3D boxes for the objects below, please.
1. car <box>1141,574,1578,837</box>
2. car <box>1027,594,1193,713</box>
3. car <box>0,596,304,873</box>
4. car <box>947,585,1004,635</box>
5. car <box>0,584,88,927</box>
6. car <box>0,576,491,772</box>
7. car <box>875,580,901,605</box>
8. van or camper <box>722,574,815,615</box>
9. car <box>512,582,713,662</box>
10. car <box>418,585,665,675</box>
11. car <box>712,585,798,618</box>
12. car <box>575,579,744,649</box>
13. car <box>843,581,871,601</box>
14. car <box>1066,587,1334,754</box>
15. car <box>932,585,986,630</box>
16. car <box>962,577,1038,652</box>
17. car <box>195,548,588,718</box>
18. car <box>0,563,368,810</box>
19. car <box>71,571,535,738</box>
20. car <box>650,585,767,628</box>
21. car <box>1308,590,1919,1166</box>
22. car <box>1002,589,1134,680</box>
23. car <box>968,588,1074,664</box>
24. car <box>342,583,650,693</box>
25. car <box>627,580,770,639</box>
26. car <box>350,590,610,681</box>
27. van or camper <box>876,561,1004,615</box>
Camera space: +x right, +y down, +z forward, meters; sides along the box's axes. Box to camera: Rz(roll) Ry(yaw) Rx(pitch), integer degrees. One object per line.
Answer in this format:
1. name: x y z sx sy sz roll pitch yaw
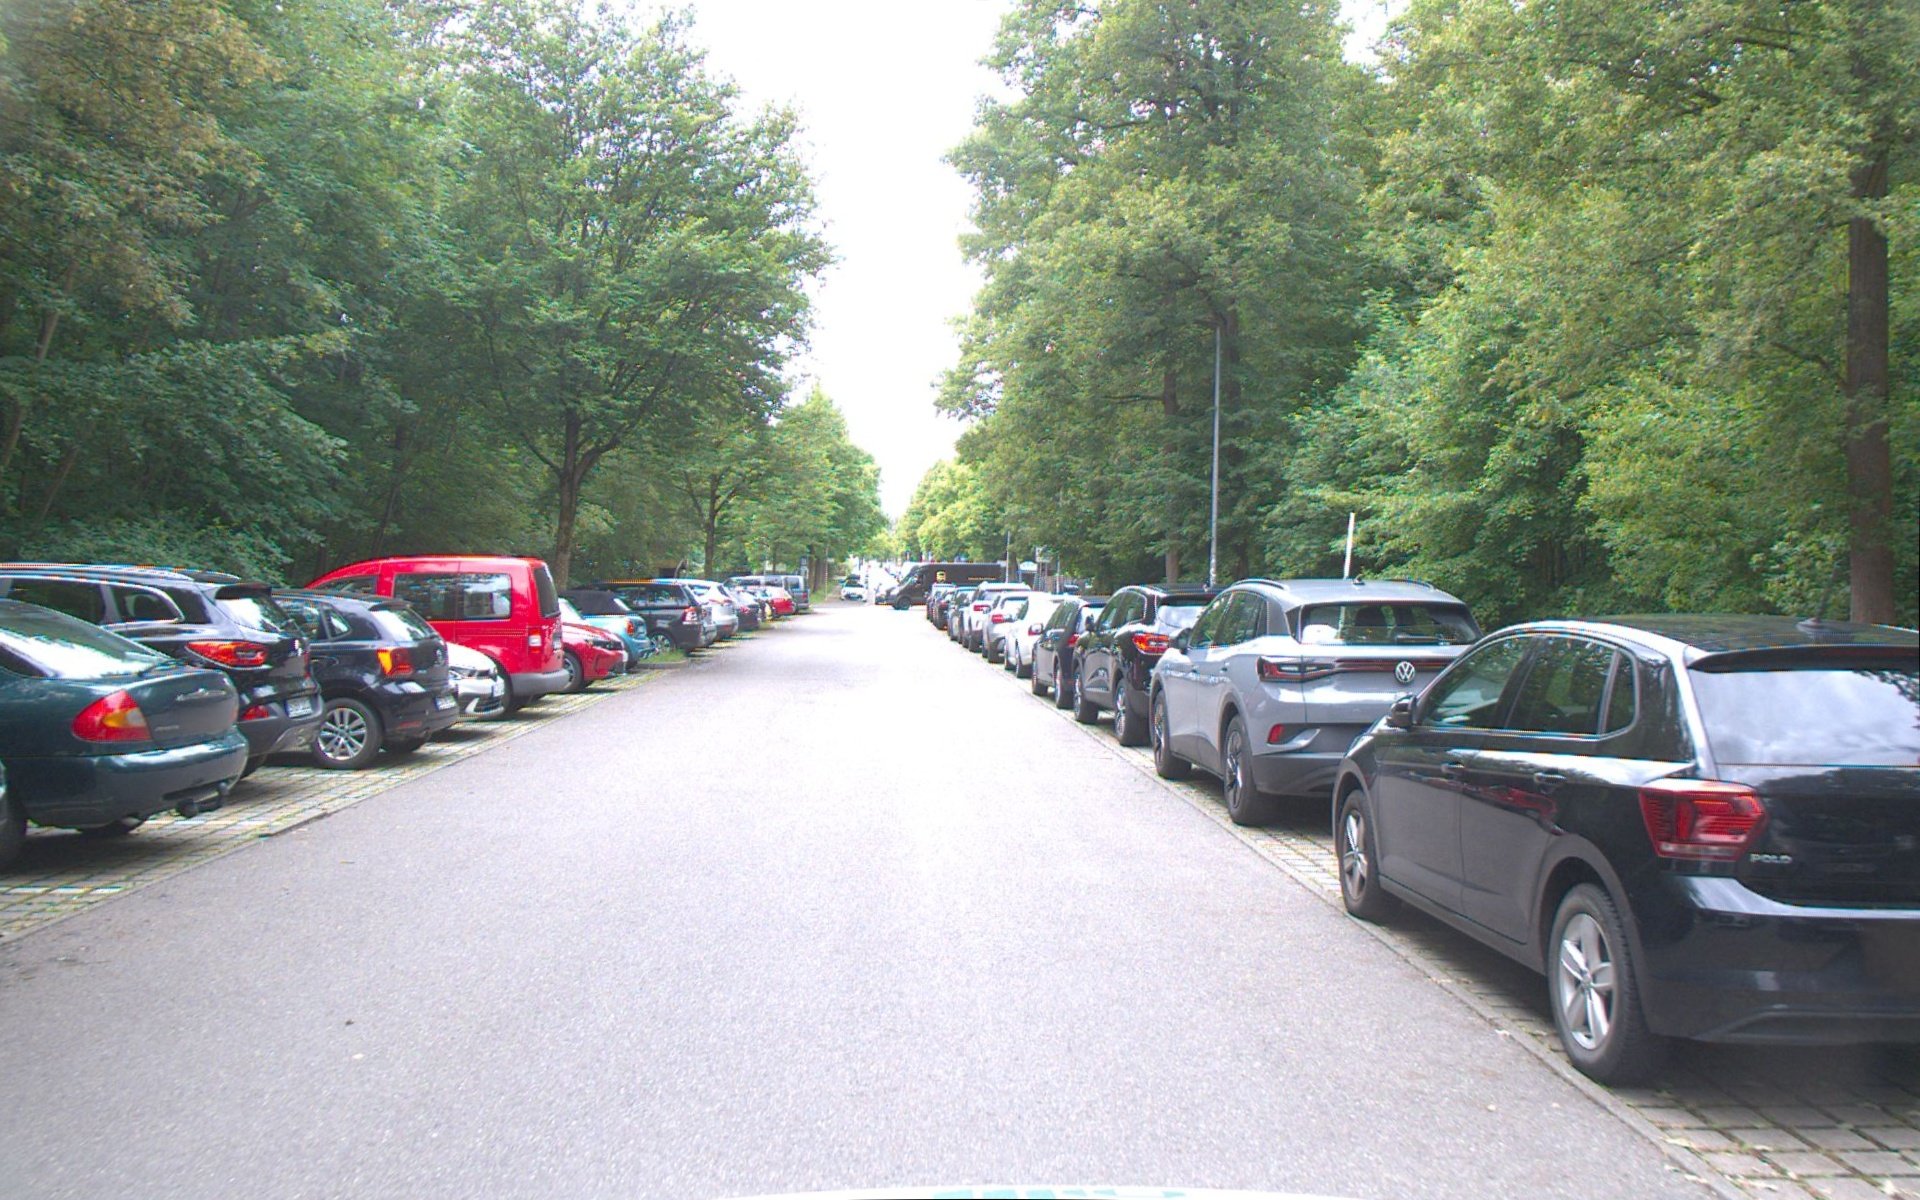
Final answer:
1. car: 2.680 0.622 12.324 1.938 1.564 4.619 1 1 -3
2. car: 1.991 0.680 23.004 1.633 1.470 3.810 1 1 -5
3. car: -6.364 0.660 9.179 4.637 1.367 1.986 1 0 -3
4. car: 0.470 0.296 53.841 1.676 1.535 3.999 1 0 -2
5. car: -6.216 0.648 6.860 4.213 1.474 1.754 1 0 -7
6. car: -6.265 0.599 14.348 3.910 1.557 1.997 1 0 -7
7. car: -4.784 -0.513 109.326 1.657 1.440 3.153 2 3 -3
8. van or camper: -9.701 -0.282 83.574 4.403 1.900 1.911 1 3 -17
9. car: -7.100 0.444 34.100 3.755 1.563 1.870 1 0 -2
10. car: -7.327 0.516 29.249 3.906 1.500 1.847 1 0 -2
11. car: -8.890 0.055 71.541 3.517 1.385 1.821 1 0 -15
12. car: -7.472 0.333 41.419 3.906 1.669 1.734 1 0 -2
13. car: -7.048 -0.622 112.990 1.704 1.182 3.411 2 3 -1
14. car: 2.446 0.666 17.955 1.940 1.564 4.162 1 1 -5
15. car: -0.073 0.253 61.043 1.882 1.547 3.886 1 0 -1
16. car: 0.958 0.330 41.616 1.676 1.758 3.999 1 0 -2
17. car: -6.504 0.364 19.332 3.909 1.848 2.113 1 0 -5
18. car: -6.923 0.553 11.863 4.637 1.623 1.958 1 0 -3
19. car: -6.516 0.521 16.785 3.907 1.557 1.999 1 0 -3
20. car: -8.645 0.226 56.981 3.913 1.406 1.996 1 0 -9
21. car: 2.733 0.731 6.472 1.604 1.503 4.148 1 0 -4
22. car: 1.881 0.573 29.963 1.898 1.501 3.989 1 1 -3
23. car: 1.272 0.517 35.814 1.689 1.520 3.768 1 0 -7
24. car: -6.674 0.525 24.177 3.906 1.500 2.114 1 0 -2
25. car: -7.687 0.269 48.836 3.906 1.669 2.009 1 0 -2
26. car: -7.746 0.555 26.961 3.671 1.393 1.935 1 0 -2
27. van or camper: -1.209 -0.726 99.596 7.207 2.938 2.638 1 3 -17
